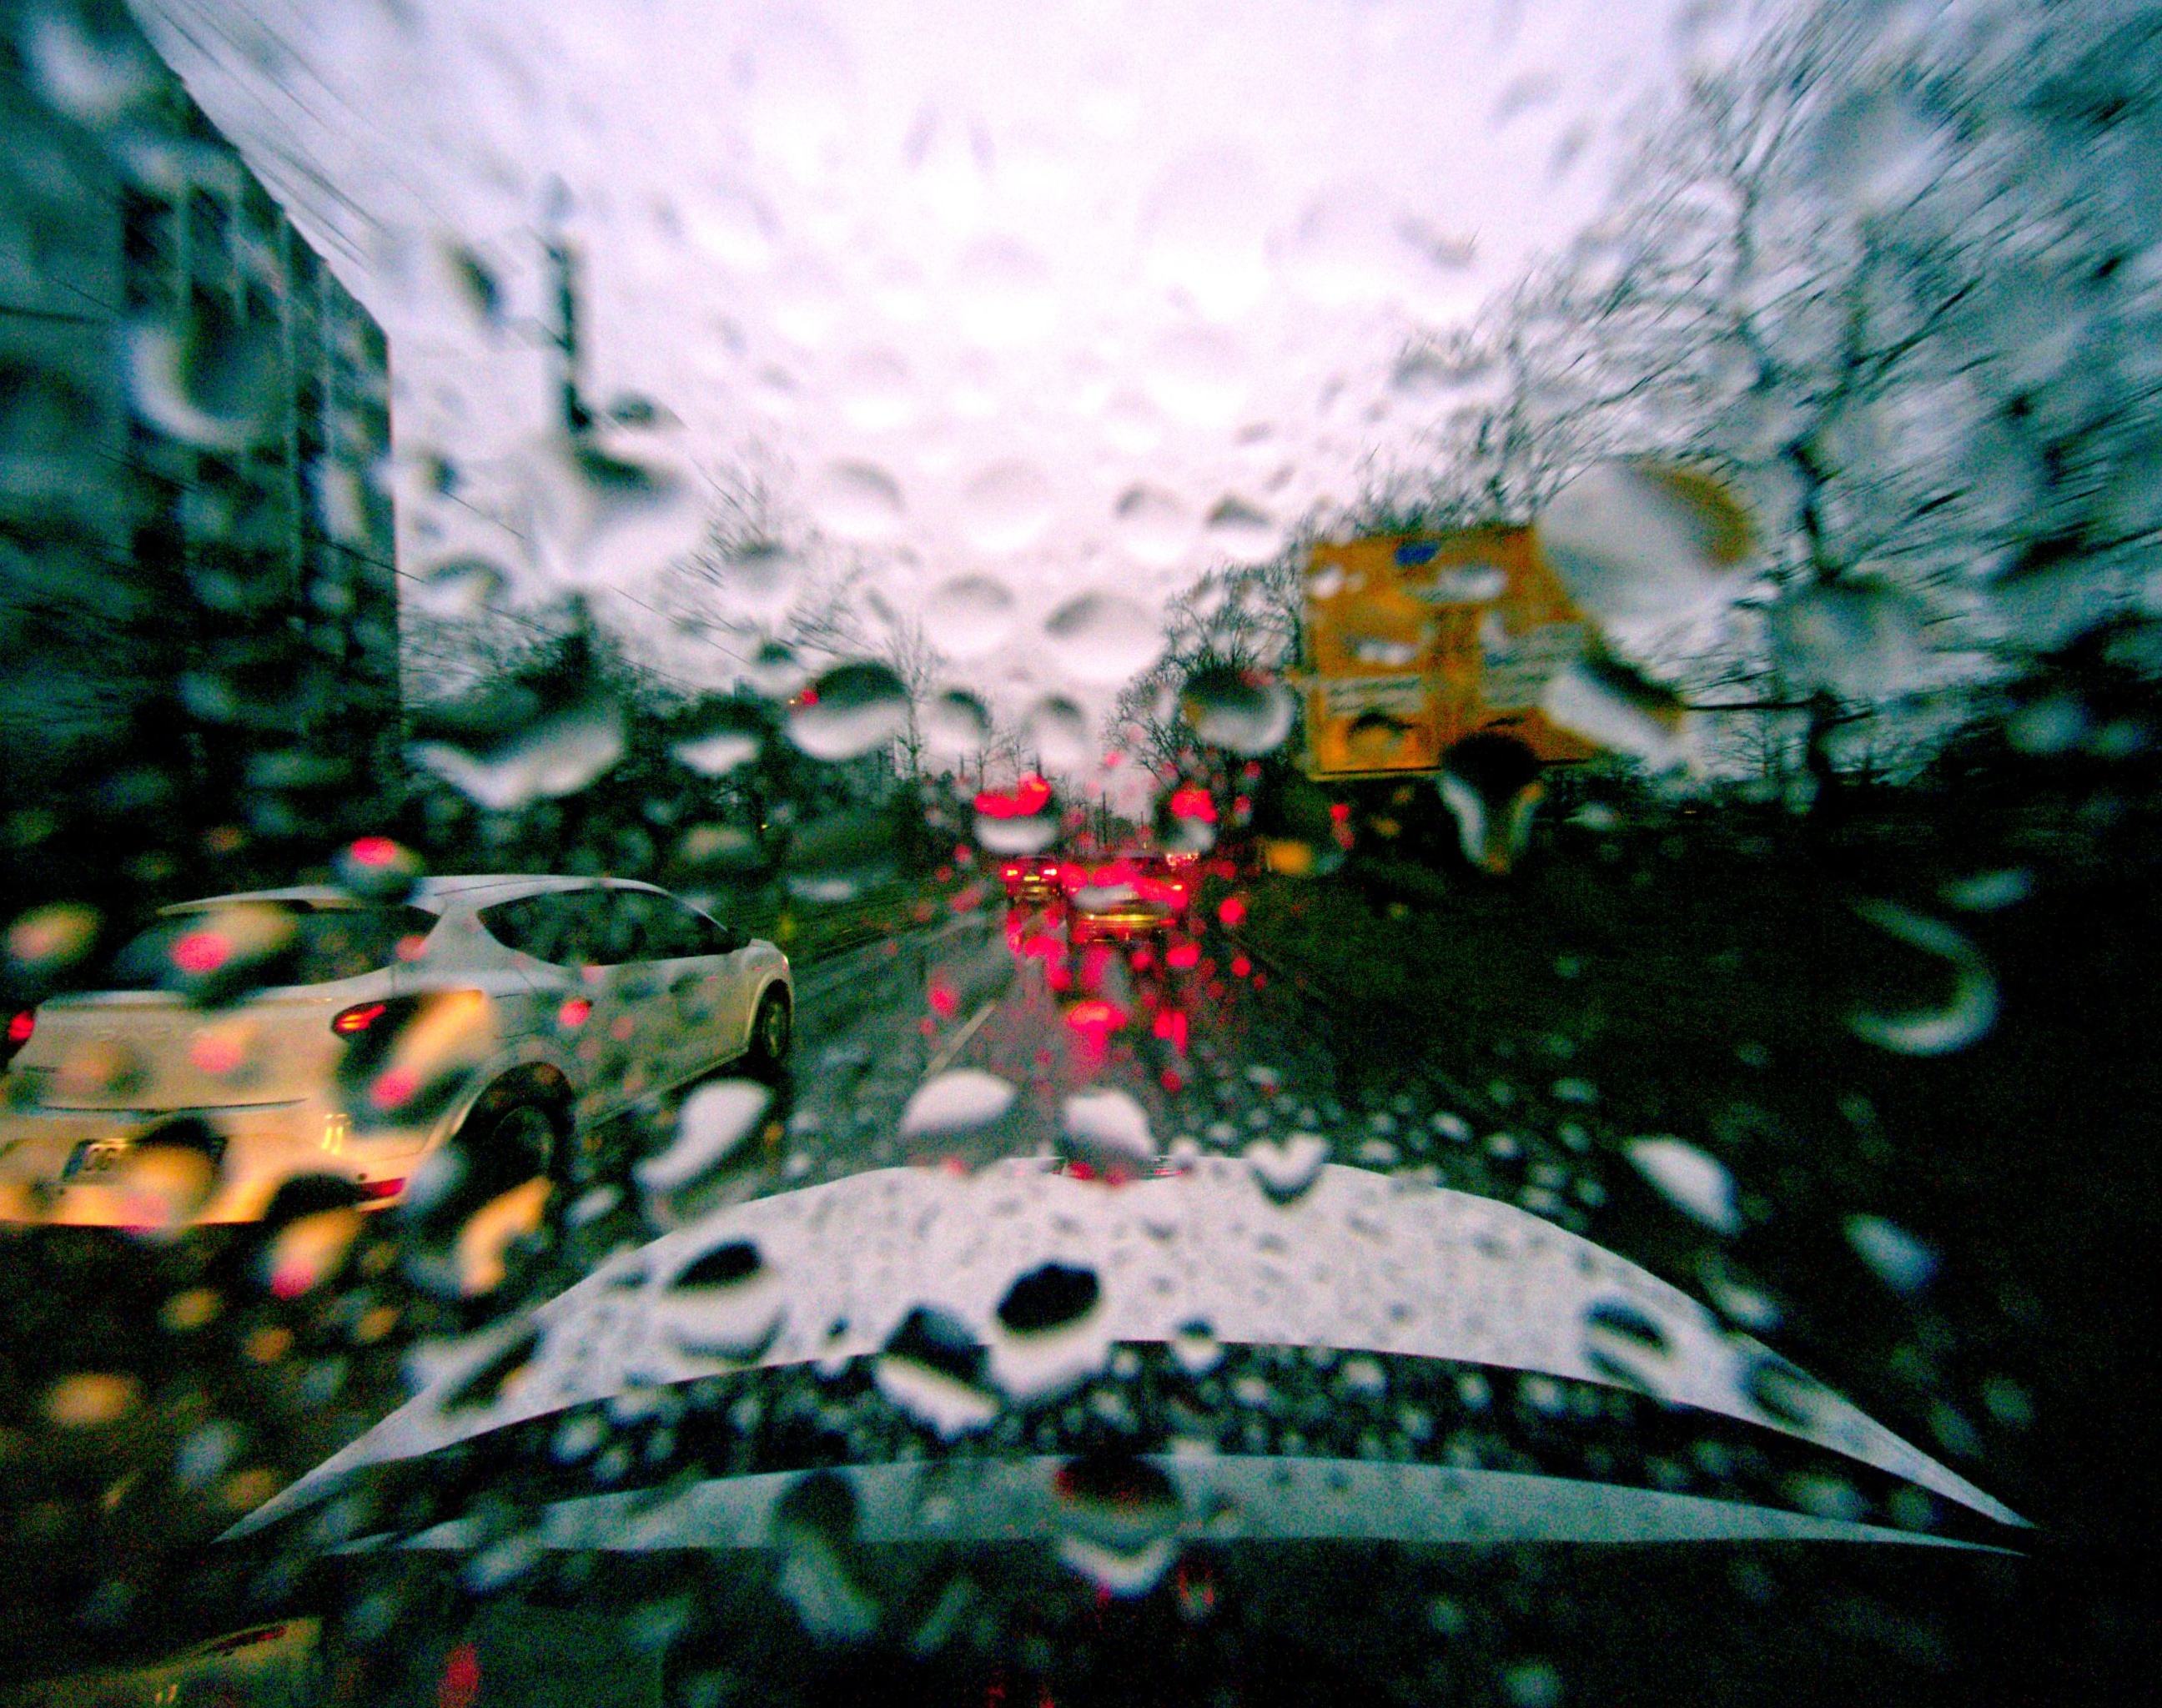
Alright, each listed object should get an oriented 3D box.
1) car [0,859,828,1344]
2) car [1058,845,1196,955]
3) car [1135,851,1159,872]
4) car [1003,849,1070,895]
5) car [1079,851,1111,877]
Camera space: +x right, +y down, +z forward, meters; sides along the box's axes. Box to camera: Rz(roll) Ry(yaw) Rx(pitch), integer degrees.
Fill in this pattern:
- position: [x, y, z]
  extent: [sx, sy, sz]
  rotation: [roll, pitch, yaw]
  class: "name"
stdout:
- position: [-3.093, 0.829, 4.712]
  extent: [1.701, 1.525, 4.138]
  rotation: [-2, 0, 3]
  class: "car"
- position: [0.756, 0.669, 13.967]
  extent: [1.990, 1.584, 4.002]
  rotation: [-1, 0, 2]
  class: "car"
- position: [5.095, 0.561, 62.984]
  extent: [1.700, 1.558, 4.001]
  rotation: [-2, 0, 5]
  class: "car"
- position: [-1.502, 0.573, 28.932]
  extent: [1.872, 1.459, 4.003]
  rotation: [-2, 0, 3]
  class: "car"
- position: [0.989, 0.639, 54.687]
  extent: [1.872, 1.593, 4.005]
  rotation: [-2, 0, 4]
  class: "car"
